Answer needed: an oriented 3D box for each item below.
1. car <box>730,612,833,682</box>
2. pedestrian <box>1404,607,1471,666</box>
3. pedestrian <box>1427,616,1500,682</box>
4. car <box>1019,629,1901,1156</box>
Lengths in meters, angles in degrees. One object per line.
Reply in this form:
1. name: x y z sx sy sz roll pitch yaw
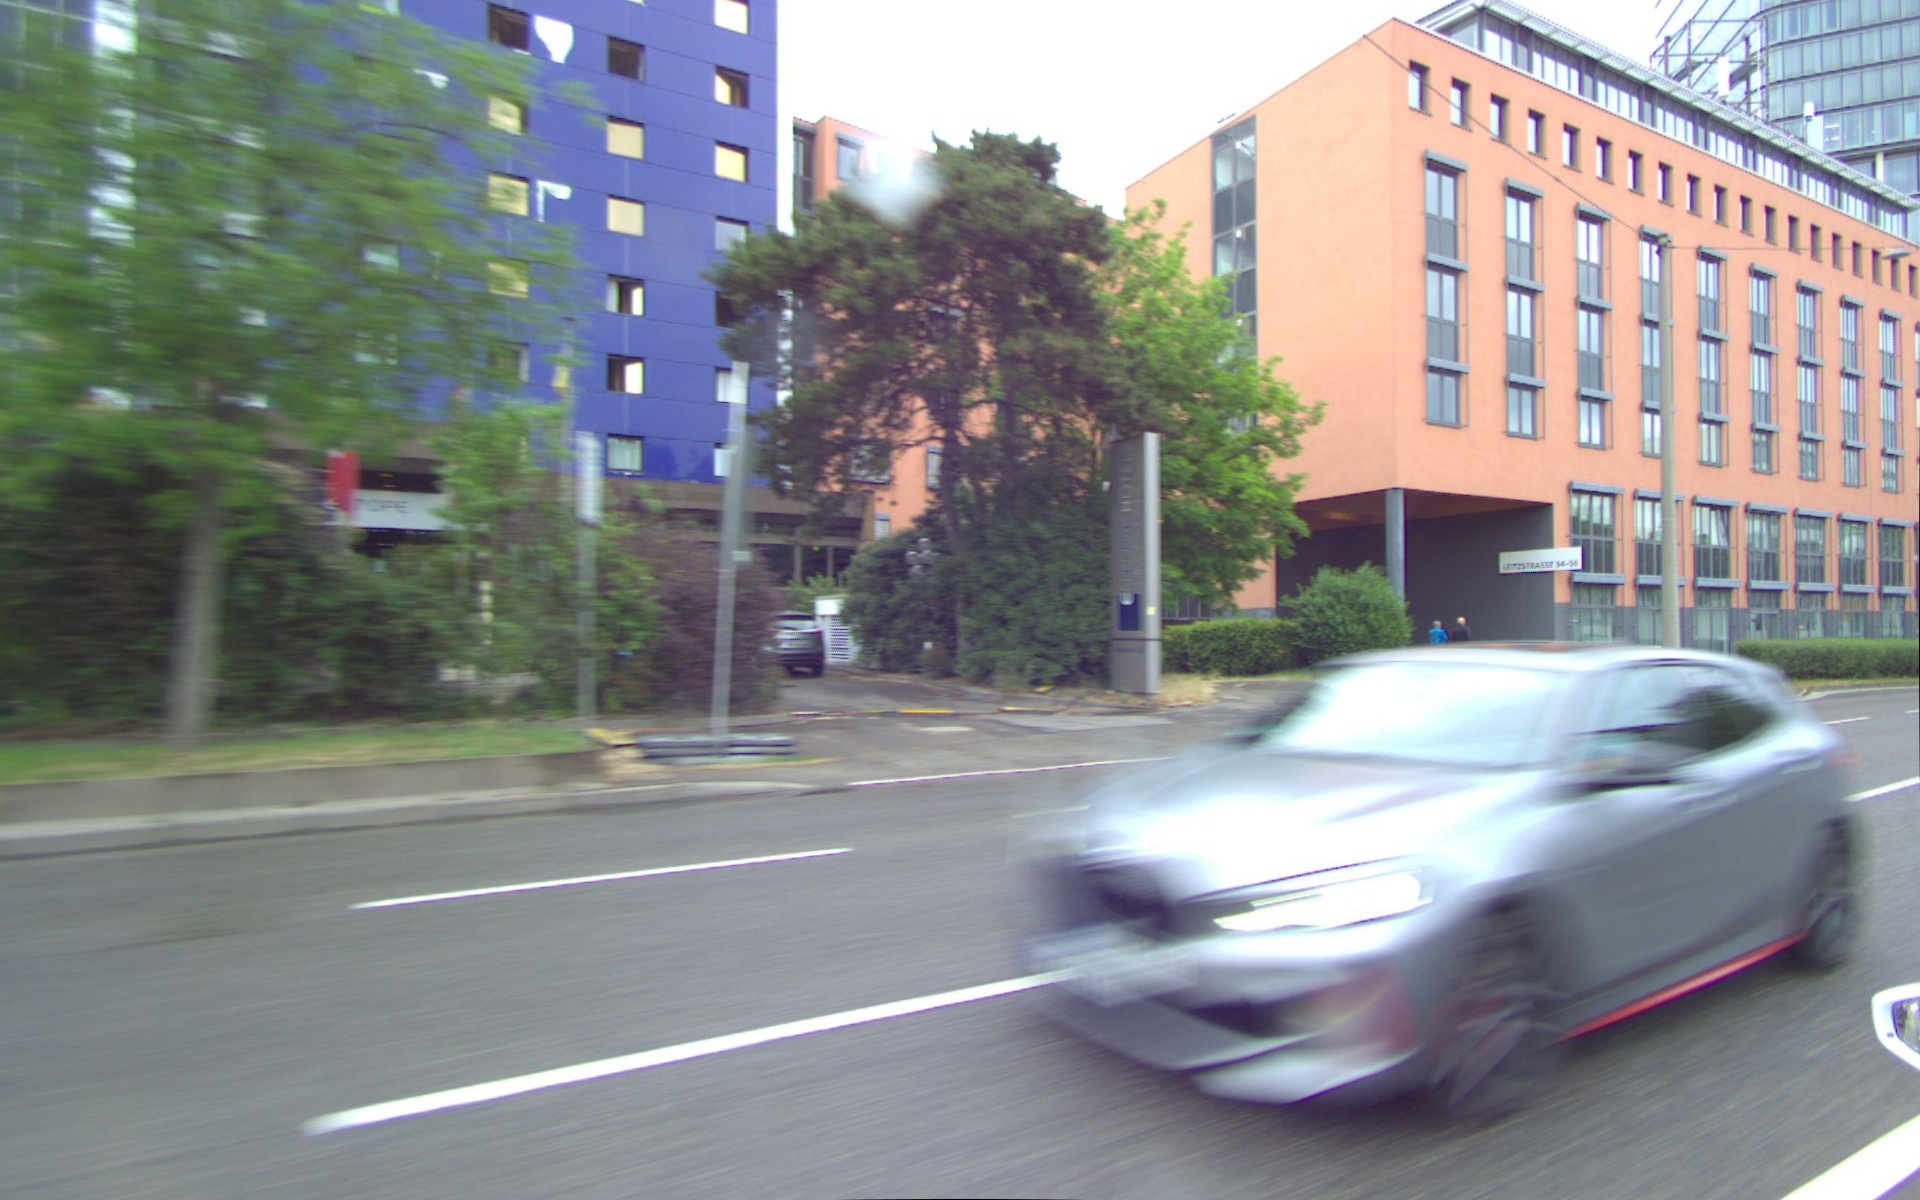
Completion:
1. car: -4.776 1.203 26.576 1.794 1.688 3.397 0 -2 -27
2. pedestrian: 14.323 1.115 30.135 1.402 1.700 1.202 3 -5 -28
3. pedestrian: 14.683 1.451 29.299 1.421 1.846 1.310 3 -5 -28
4. car: 2.355 0.853 4.452 3.956 1.383 1.703 2 -3 -32
